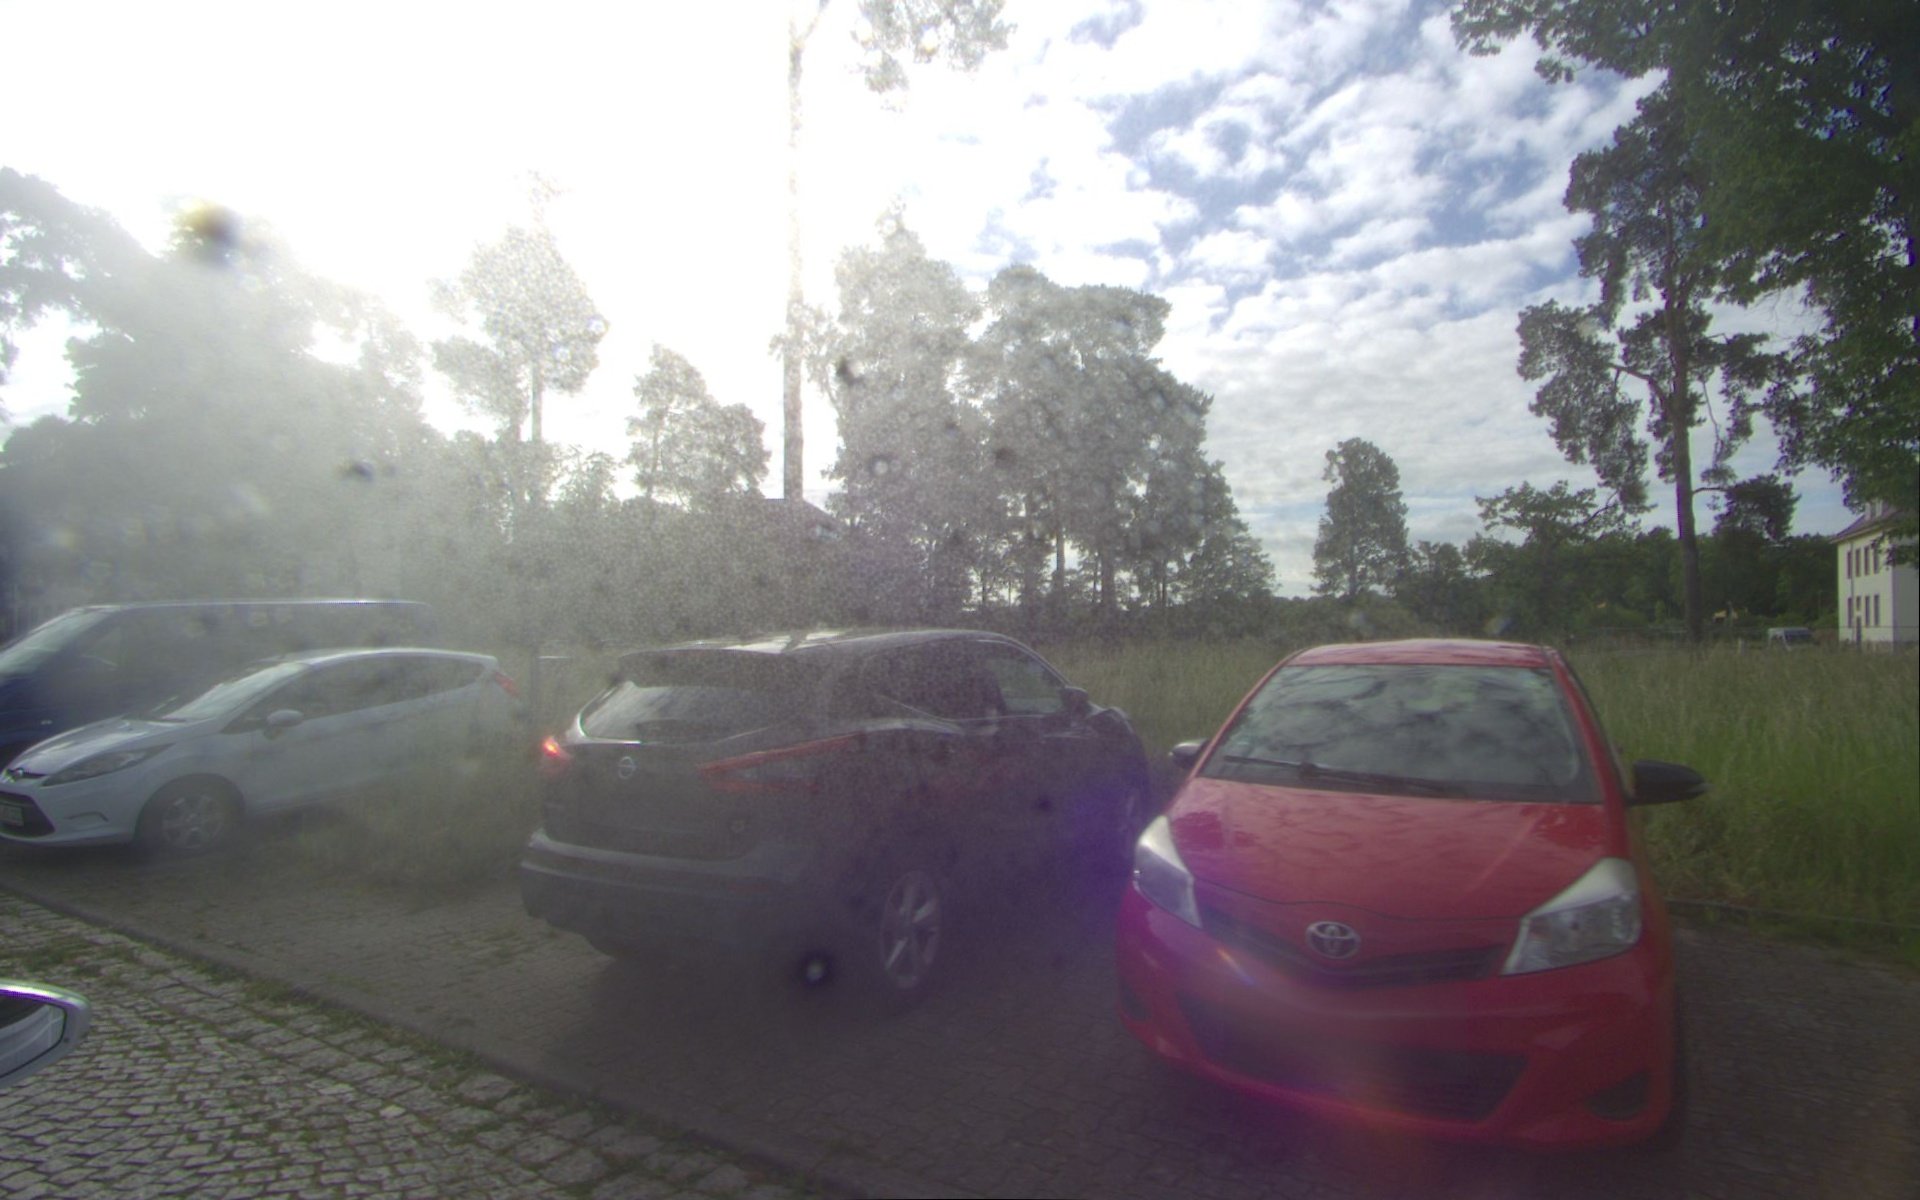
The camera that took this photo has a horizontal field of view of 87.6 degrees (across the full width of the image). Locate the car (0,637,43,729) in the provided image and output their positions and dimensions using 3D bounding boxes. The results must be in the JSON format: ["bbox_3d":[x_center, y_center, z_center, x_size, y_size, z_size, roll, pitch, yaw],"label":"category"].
[{"bbox_3d":[-17.142,1.353,15.996,1.635,1.523,3.297,0,-2,21],"label":"car"}]

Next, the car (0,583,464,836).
[{"bbox_3d":[-7.759,0.987,10.128,1.712,2.065,4.780,-1,-3,29],"label":"car"}]

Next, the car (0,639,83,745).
[{"bbox_3d":[-14.977,1.321,14.095,1.635,1.525,3.603,0,-2,21],"label":"car"}]

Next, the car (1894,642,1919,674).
[{"bbox_3d":[62.480,3.714,63.817,2.446,2.038,5.824,-1,-4,23],"label":"car"}]

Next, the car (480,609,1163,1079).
[{"bbox_3d":[-0.333,0.920,5.580,1.735,1.600,3.947,-1,-2,30],"label":"car"}]

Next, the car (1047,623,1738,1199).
[{"bbox_3d":[2.023,0.900,4.387,1.713,1.538,3.982,-1,-2,31],"label":"car"}]

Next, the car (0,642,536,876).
[{"bbox_3d":[-5.788,1.134,8.652,1.629,1.442,3.719,-1,-1,29],"label":"car"}]

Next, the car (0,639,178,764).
[{"bbox_3d":[-12.363,1.270,12.856,1.639,1.524,3.290,-1,-2,29],"label":"car"}]
